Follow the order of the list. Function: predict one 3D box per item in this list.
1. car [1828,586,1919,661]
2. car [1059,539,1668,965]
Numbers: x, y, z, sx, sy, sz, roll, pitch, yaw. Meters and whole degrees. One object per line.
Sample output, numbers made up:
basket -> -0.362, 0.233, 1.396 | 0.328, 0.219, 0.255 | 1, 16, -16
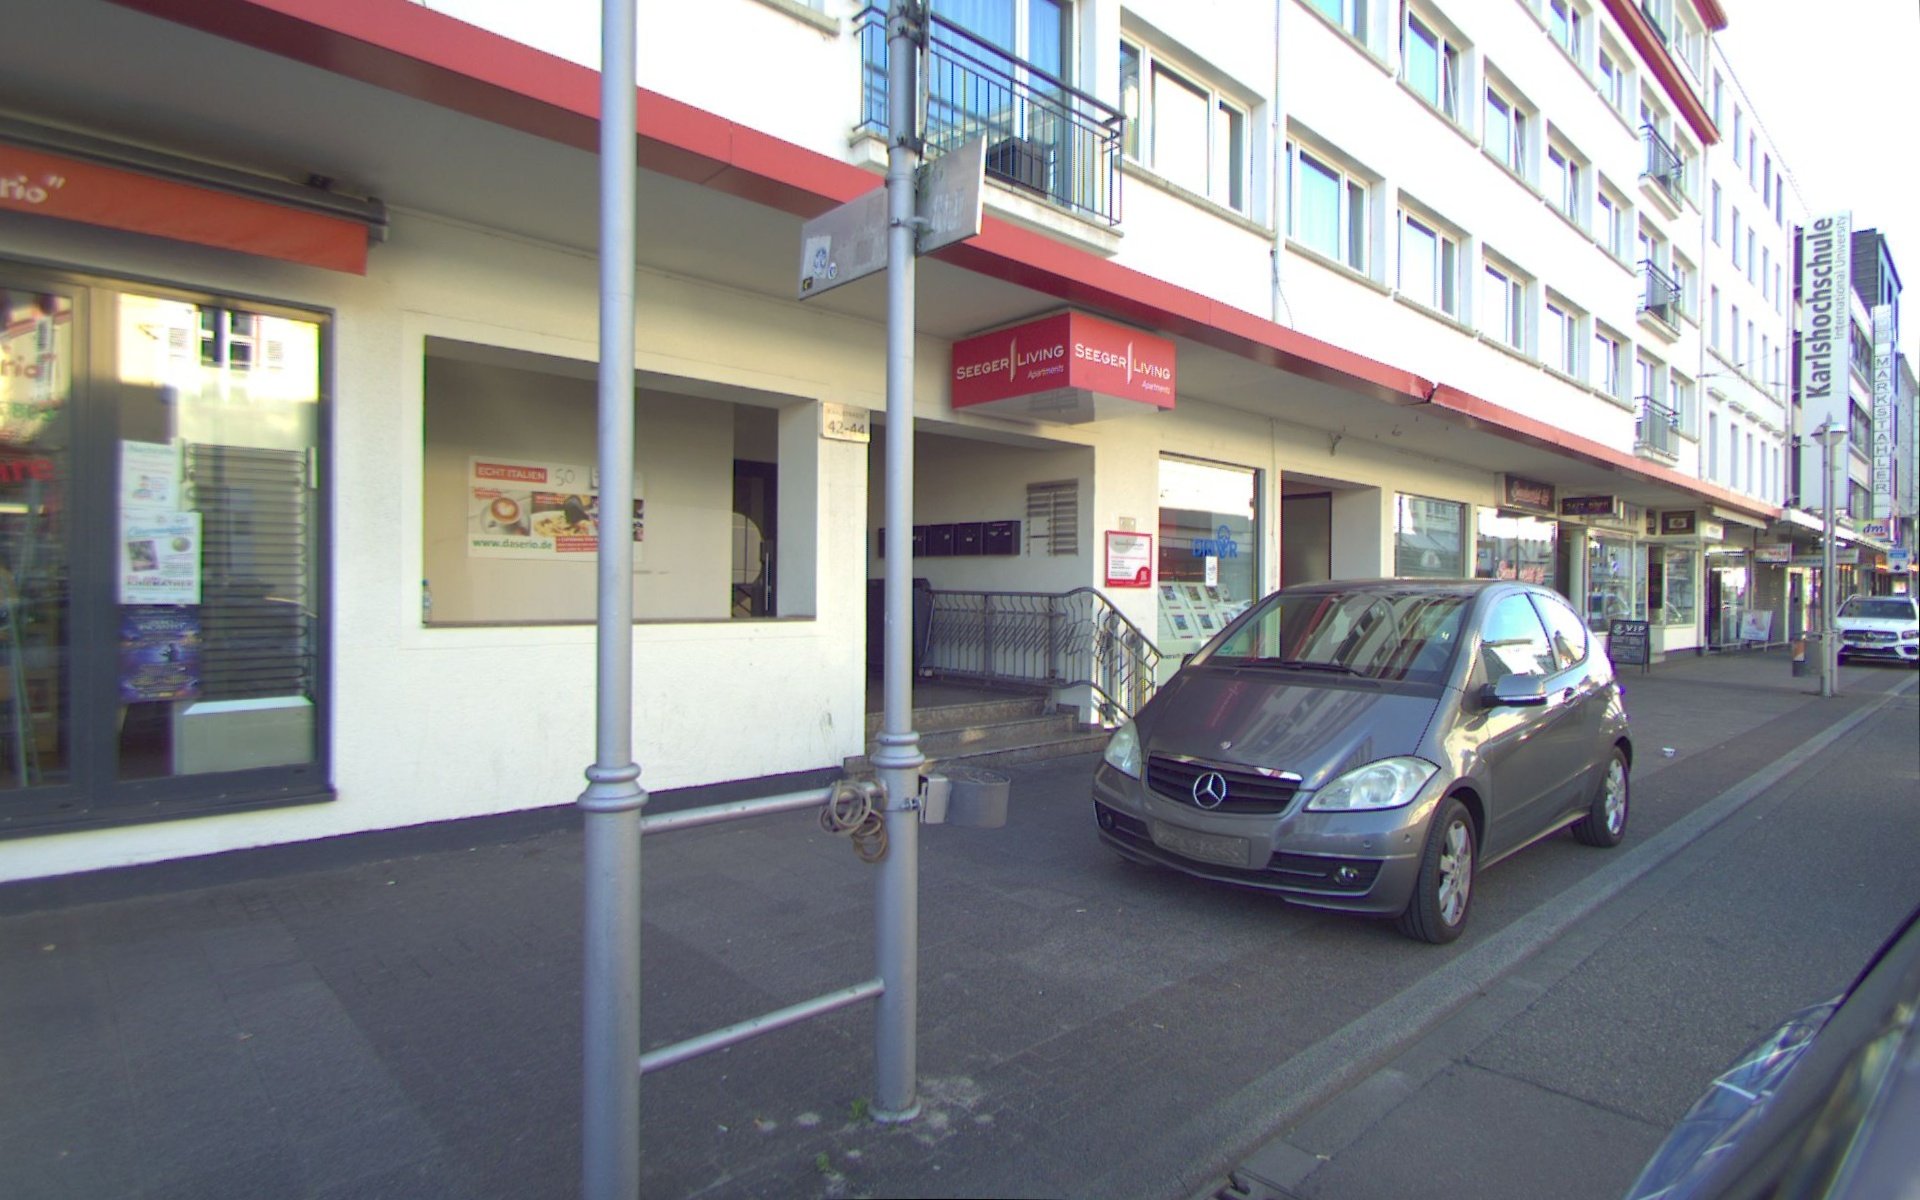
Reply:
car -> 22.395, 0.521, 24.354 | 1.994, 1.650, 3.935 | 1, 1, 45
car -> 2.484, 0.561, 5.691 | 3.932, 1.565, 1.681 | 0, 0, -43
